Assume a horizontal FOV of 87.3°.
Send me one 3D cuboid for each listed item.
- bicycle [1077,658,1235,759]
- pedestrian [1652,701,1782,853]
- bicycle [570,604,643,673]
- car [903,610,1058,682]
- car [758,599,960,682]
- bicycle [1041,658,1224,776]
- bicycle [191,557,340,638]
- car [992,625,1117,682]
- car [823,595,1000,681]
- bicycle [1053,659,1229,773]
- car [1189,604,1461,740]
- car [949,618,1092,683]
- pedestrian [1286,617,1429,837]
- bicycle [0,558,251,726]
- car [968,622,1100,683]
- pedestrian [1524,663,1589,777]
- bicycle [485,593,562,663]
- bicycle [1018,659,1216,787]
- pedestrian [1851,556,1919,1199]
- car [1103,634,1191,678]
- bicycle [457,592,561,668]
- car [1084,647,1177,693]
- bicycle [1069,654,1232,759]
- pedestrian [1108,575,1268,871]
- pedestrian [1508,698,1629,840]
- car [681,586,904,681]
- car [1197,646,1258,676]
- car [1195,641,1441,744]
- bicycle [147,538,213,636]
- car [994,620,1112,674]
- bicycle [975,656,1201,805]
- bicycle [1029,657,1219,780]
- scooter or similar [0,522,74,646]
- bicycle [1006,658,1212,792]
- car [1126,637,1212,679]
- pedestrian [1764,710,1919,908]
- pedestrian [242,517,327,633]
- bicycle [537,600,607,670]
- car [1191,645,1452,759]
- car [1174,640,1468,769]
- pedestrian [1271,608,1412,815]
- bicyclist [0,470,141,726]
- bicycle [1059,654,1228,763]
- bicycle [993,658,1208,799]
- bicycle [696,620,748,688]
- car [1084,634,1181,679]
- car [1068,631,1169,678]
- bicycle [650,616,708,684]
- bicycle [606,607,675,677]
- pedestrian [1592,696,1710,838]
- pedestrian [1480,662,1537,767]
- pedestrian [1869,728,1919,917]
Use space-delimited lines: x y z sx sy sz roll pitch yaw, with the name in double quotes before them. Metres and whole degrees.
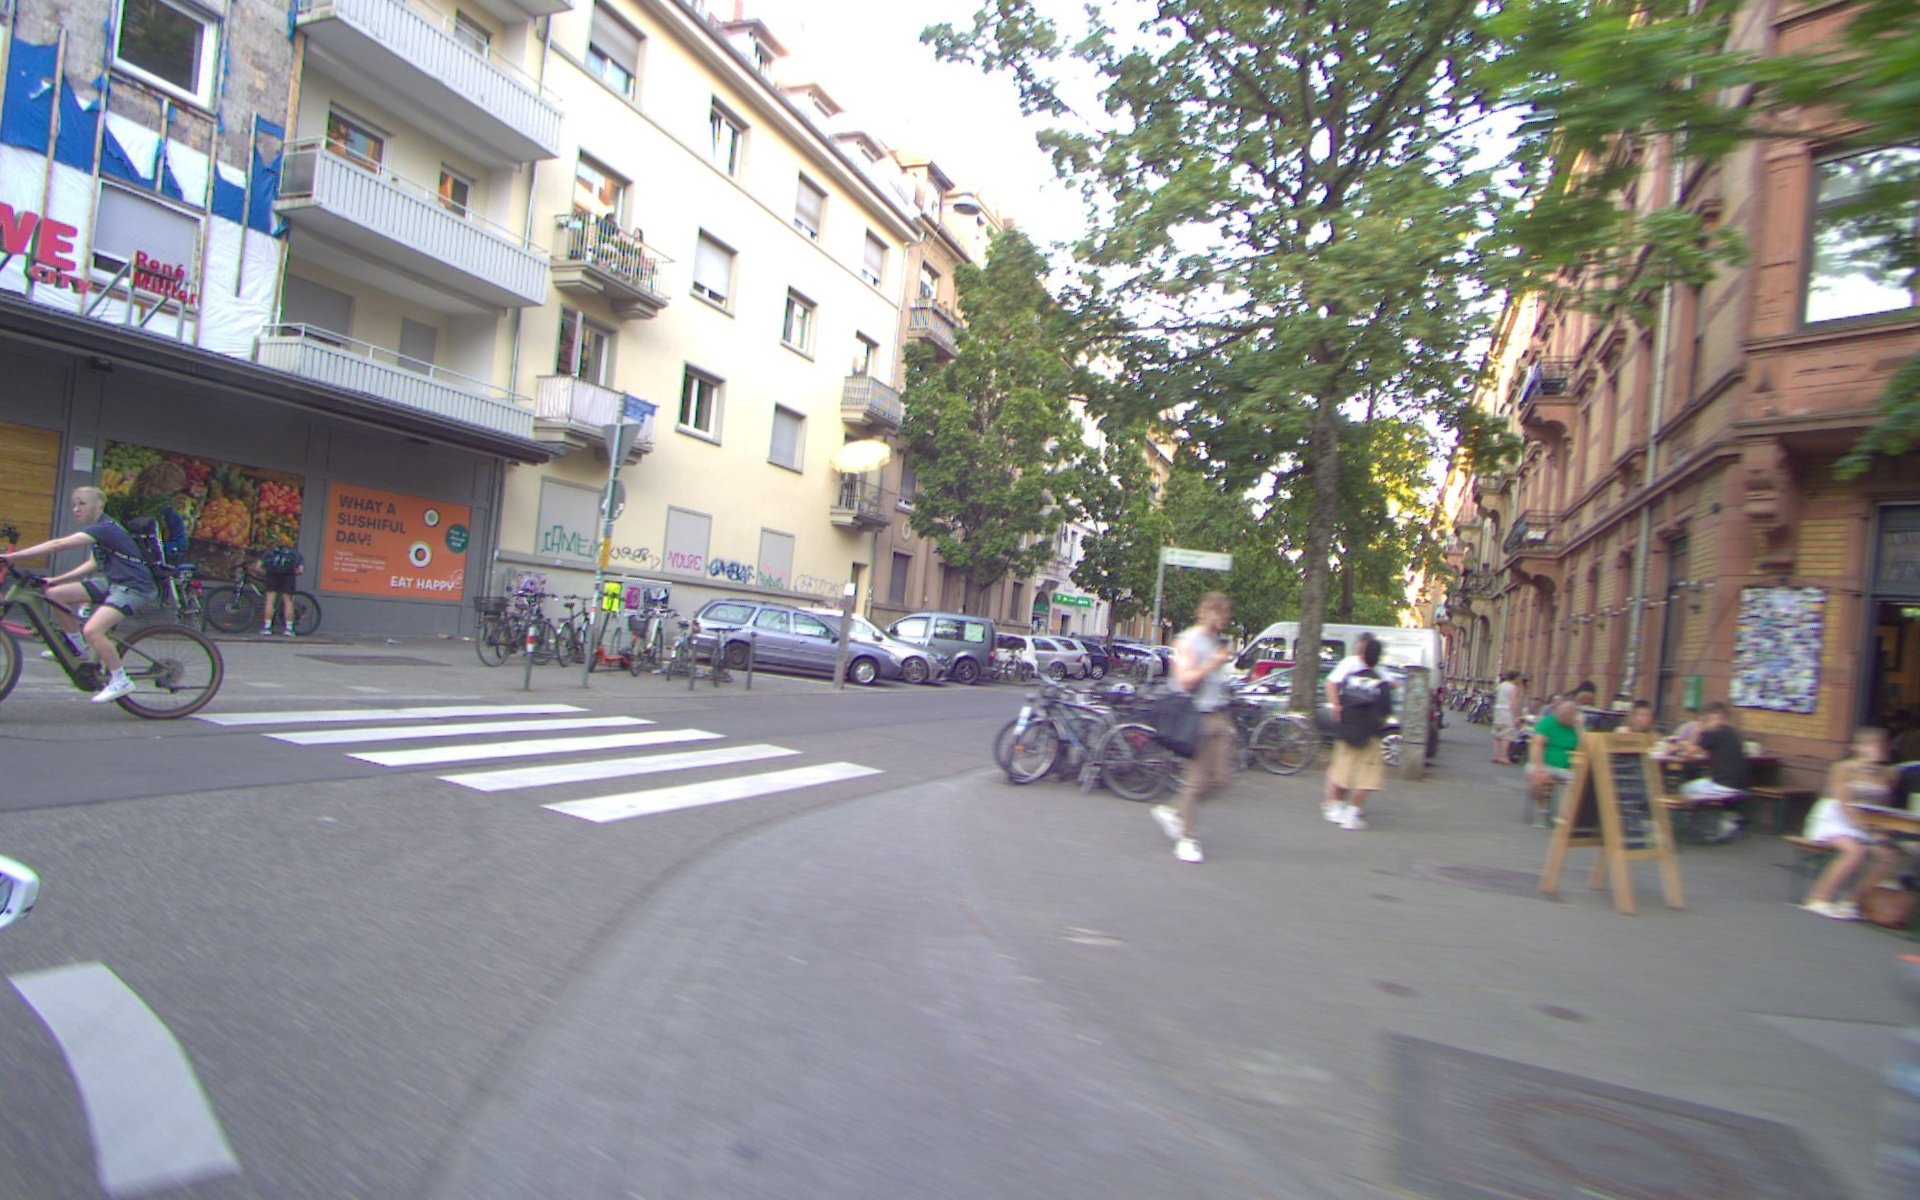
"bicycle" 2.680 1.470 13.805 1.997 1.147 0.435 5 -2 20
"pedestrian" 7.520 1.738 10.016 0.726 1.361 0.627 5 -2 2
"bicycle" -5.795 0.641 16.604 0.482 1.038 2.017 5 -2 -2
"car" 0.620 1.469 32.243 4.472 1.805 1.996 6 -2 -15
"car" -2.416 1.003 24.745 4.457 1.543 2.003 5 -2 8
"bicycle" 2.029 1.359 11.895 1.997 1.147 0.435 5 -2 20
"bicycle" -10.435 -0.009 15.209 0.371 1.038 1.883 5 -3 22
"car" 3.752 2.144 40.186 4.470 1.805 1.997 6 -2 -12
"car" -1.274 1.033 27.175 4.460 1.805 2.001 6 -2 -2
"bicycle" 2.208 1.395 12.341 1.997 1.147 0.435 5 -2 20
"car" 8.259 1.608 23.094 5.441 2.449 2.247 5 -2 21
"car" 2.099 1.758 35.330 4.472 1.805 1.996 6 -2 -15
"pedestrian" 3.478 1.075 8.785 0.855 1.744 0.834 4 -2 36
"bicycle" -6.591 0.285 7.257 2.269 1.086 0.782 8 -1 -41
"car" 2.756 1.954 37.809 4.470 1.805 1.997 6 -2 -12
"pedestrian" 9.580 1.914 16.183 0.734 1.697 0.766 4 -2 28
"bicycle" -7.122 0.473 16.503 0.371 1.038 2.017 5 -2 -2
"bicycle" 1.703 1.316 11.002 1.997 1.147 0.435 5 -2 20
"pedestrian" 3.221 0.825 2.837 0.937 1.790 0.863 4 -2 45
"car" 10.362 3.103 55.985 4.458 1.955 2.002 5 -2 3
"bicycle" -6.783 0.480 15.225 0.371 1.038 1.664 5 -2 16
"car" 8.939 3.658 53.006 4.458 1.955 2.002 5 -2 3
"bicycle" 2.516 1.394 13.360 1.997 1.147 0.435 5 -2 20
"pedestrian" 1.612 0.820 7.019 0.822 1.849 0.868 5 -2 22
"pedestrian" 5.939 1.632 9.848 0.726 1.246 0.628 5 -2 2
"car" -3.665 0.740 21.897 4.472 1.543 1.996 6 -2 -14
"car" 21.642 4.944 81.494 4.457 1.955 2.003 5 -2 11
"car" 7.332 1.854 20.693 4.464 1.543 2.000 4 -3 25
"bicycle" -10.434 -0.191 13.434 1.786 1.217 0.347 3 -2 44
"car" 3.934 1.986 42.731 4.470 1.805 1.997 6 -2 -12
"bicycle" 1.201 1.204 9.576 1.997 1.147 0.435 5 -2 20
"bicycle" 1.853 1.319 11.446 1.997 1.147 0.435 5 -2 20
"scooter or similar" -10.612 -0.208 11.200 1.264 1.281 0.322 7 -1 13
"bicycle" 1.550 1.278 10.537 1.997 1.147 0.435 5 -2 20
"car" 12.033 3.376 58.199 4.458 1.955 2.002 5 -2 3
"pedestrian" 6.336 1.476 7.243 0.563 1.284 0.547 5 -2 0
"pedestrian" -10.024 -0.367 14.947 0.705 1.620 0.666 4 -2 29
"bicycle" -6.345 0.584 16.544 0.371 1.038 2.017 5 -2 -2
"car" 6.634 1.821 18.557 4.217 1.543 1.911 4 -2 25
"car" 5.876 1.646 16.526 4.217 1.543 1.911 4 -2 25
"pedestrian" 3.672 1.057 9.754 0.853 1.849 0.837 5 -2 -7
"bicyclist" -6.614 -0.019 7.211 0.991 1.709 0.782 7 -1 -41
"bicycle" 2.345 1.364 12.883 1.997 1.147 0.435 5 -2 20
"bicycle" 1.395 1.247 10.065 1.997 1.147 0.435 5 -2 20
"bicycle" -3.993 0.899 16.974 0.483 1.038 2.016 5 -2 -5
"car" 8.614 2.825 50.422 4.458 1.805 2.002 5 -2 3
"car" 7.531 2.604 48.092 4.458 1.805 2.002 5 -2 3
"bicycle" -4.695 0.827 16.912 0.483 1.038 2.016 5 -2 -5
"bicycle" -5.252 0.697 16.664 0.482 1.038 2.017 5 -2 -2
"pedestrian" 7.329 1.753 10.698 0.726 1.361 0.627 5 -2 2
"pedestrian" 9.472 1.963 17.395 0.734 1.697 0.766 4 -2 28
"pedestrian" 6.981 1.591 7.092 0.563 1.284 0.547 5 -2 0
